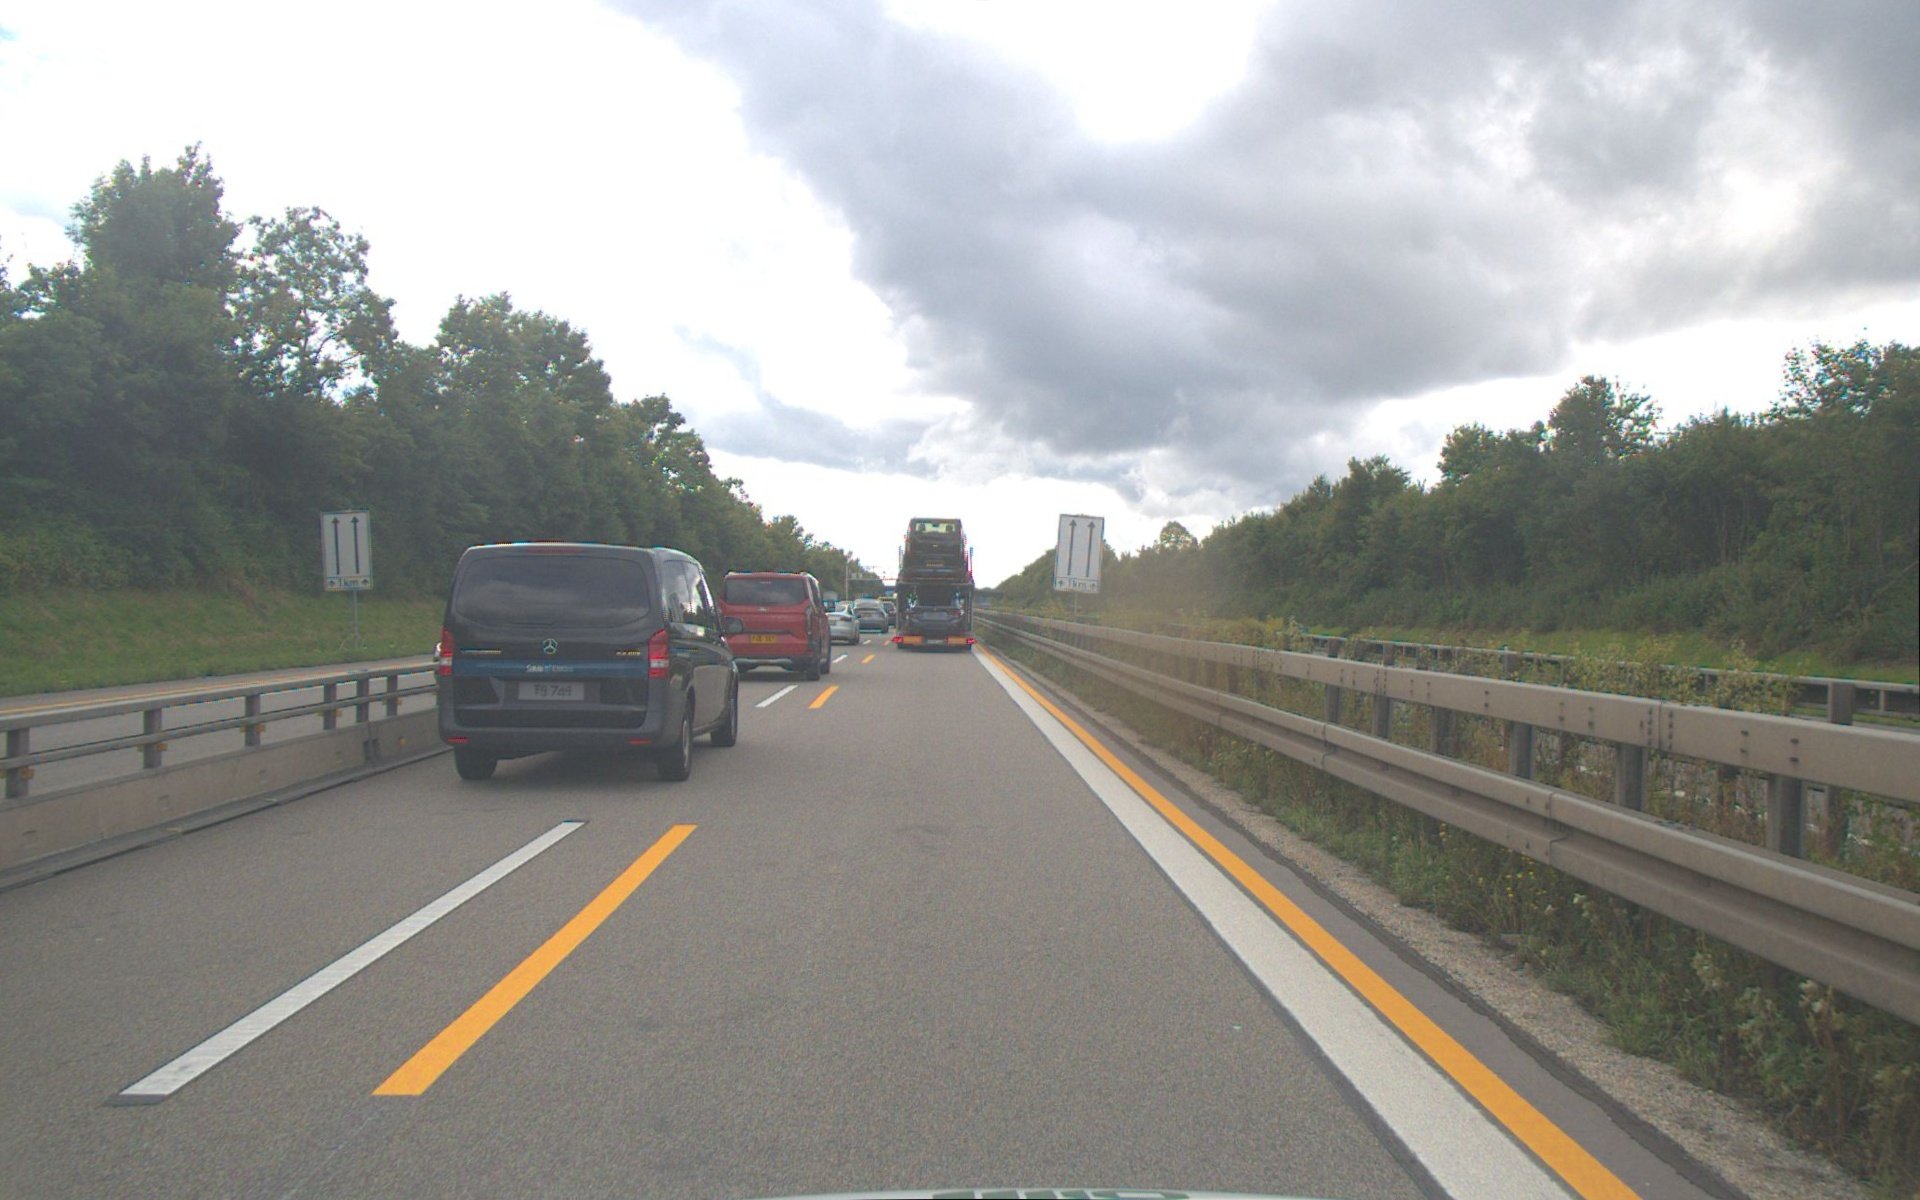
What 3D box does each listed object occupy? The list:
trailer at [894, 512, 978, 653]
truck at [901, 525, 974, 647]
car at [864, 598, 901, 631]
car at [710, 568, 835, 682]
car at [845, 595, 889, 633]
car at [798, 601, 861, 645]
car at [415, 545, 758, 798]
[{"bbox_3d":[-0.756,-0.496,55.025,2.464,4.177,11.111,1,0,-1],"label":"trailer"},{"bbox_3d":[-0.800,-0.473,59.755,2.464,4.177,5.684,1,0,-1],"label":"truck"},{"bbox_3d":[-4.320,0.812,92.477,1.990,1.788,4.576,0,0,-2],"label":"car"},{"bbox_3d":[-3.552,0.462,32.103,1.990,2.049,4.576,0,0,-1],"label":"car"},{"bbox_3d":[-4.485,0.685,80.390,1.990,1.788,4.576,0,0,-2],"label":"car"},{"bbox_3d":[-4.552,0.786,58.246,1.990,1.456,4.576,0,0,-2],"label":"car"},{"bbox_3d":[-3.114,0.537,15.093,1.953,1.875,5.608,0,0,-1],"label":"car"}]
